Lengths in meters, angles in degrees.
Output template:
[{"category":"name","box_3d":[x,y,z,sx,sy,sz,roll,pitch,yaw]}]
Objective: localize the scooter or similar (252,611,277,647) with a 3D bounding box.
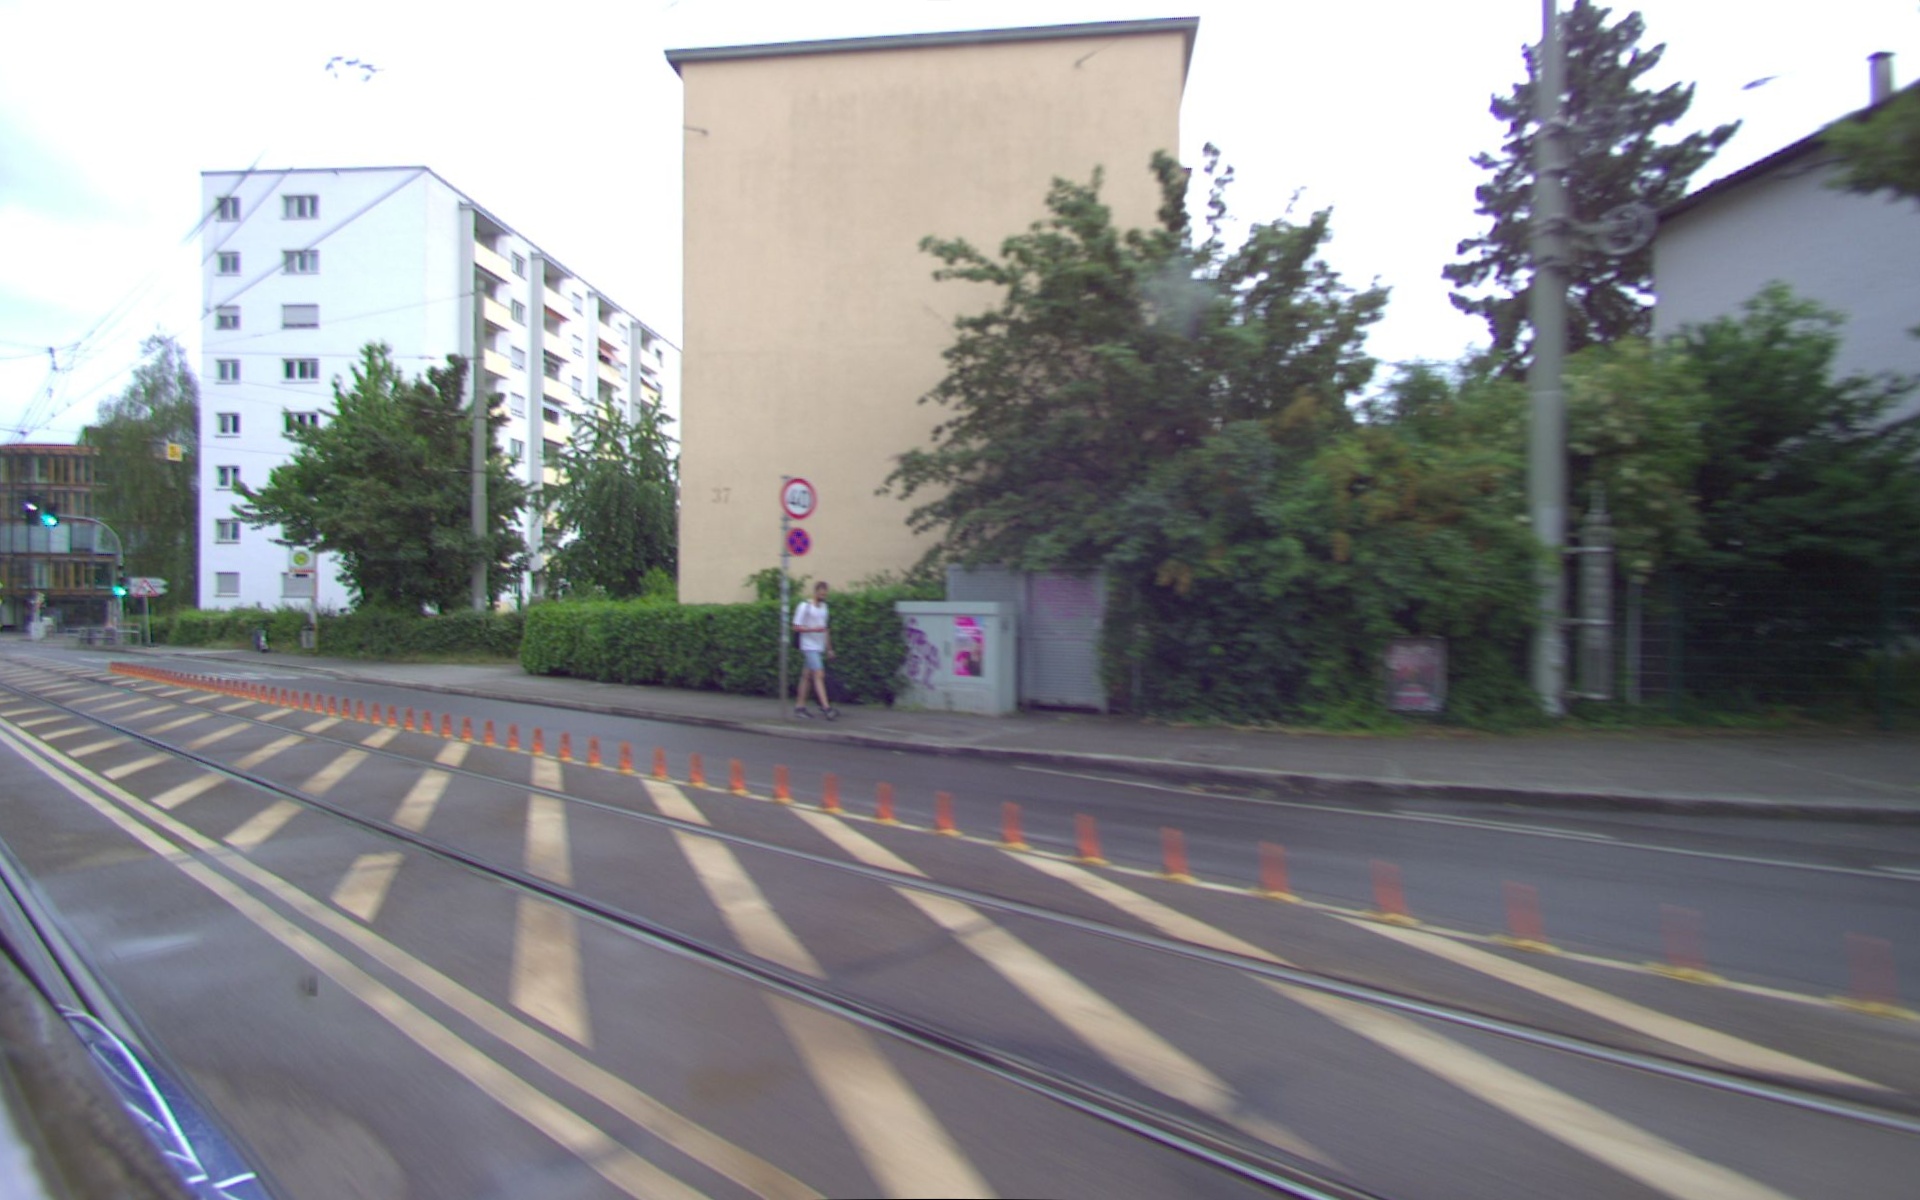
[{"category":"scooter or similar","box_3d":[-24.772,1.019,36.017,0.565,1.193,1.602,-1,1,-40]}]

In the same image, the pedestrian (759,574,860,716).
[{"category":"pedestrian","box_3d":[-2.070,0.584,13.968,1.015,1.859,0.911,0,2,36]}]

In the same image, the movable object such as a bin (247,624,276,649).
[{"category":"movable object such as a bin","box_3d":[-26.042,1.352,37.716,0.759,0.888,0.680,1,1,36]}]
